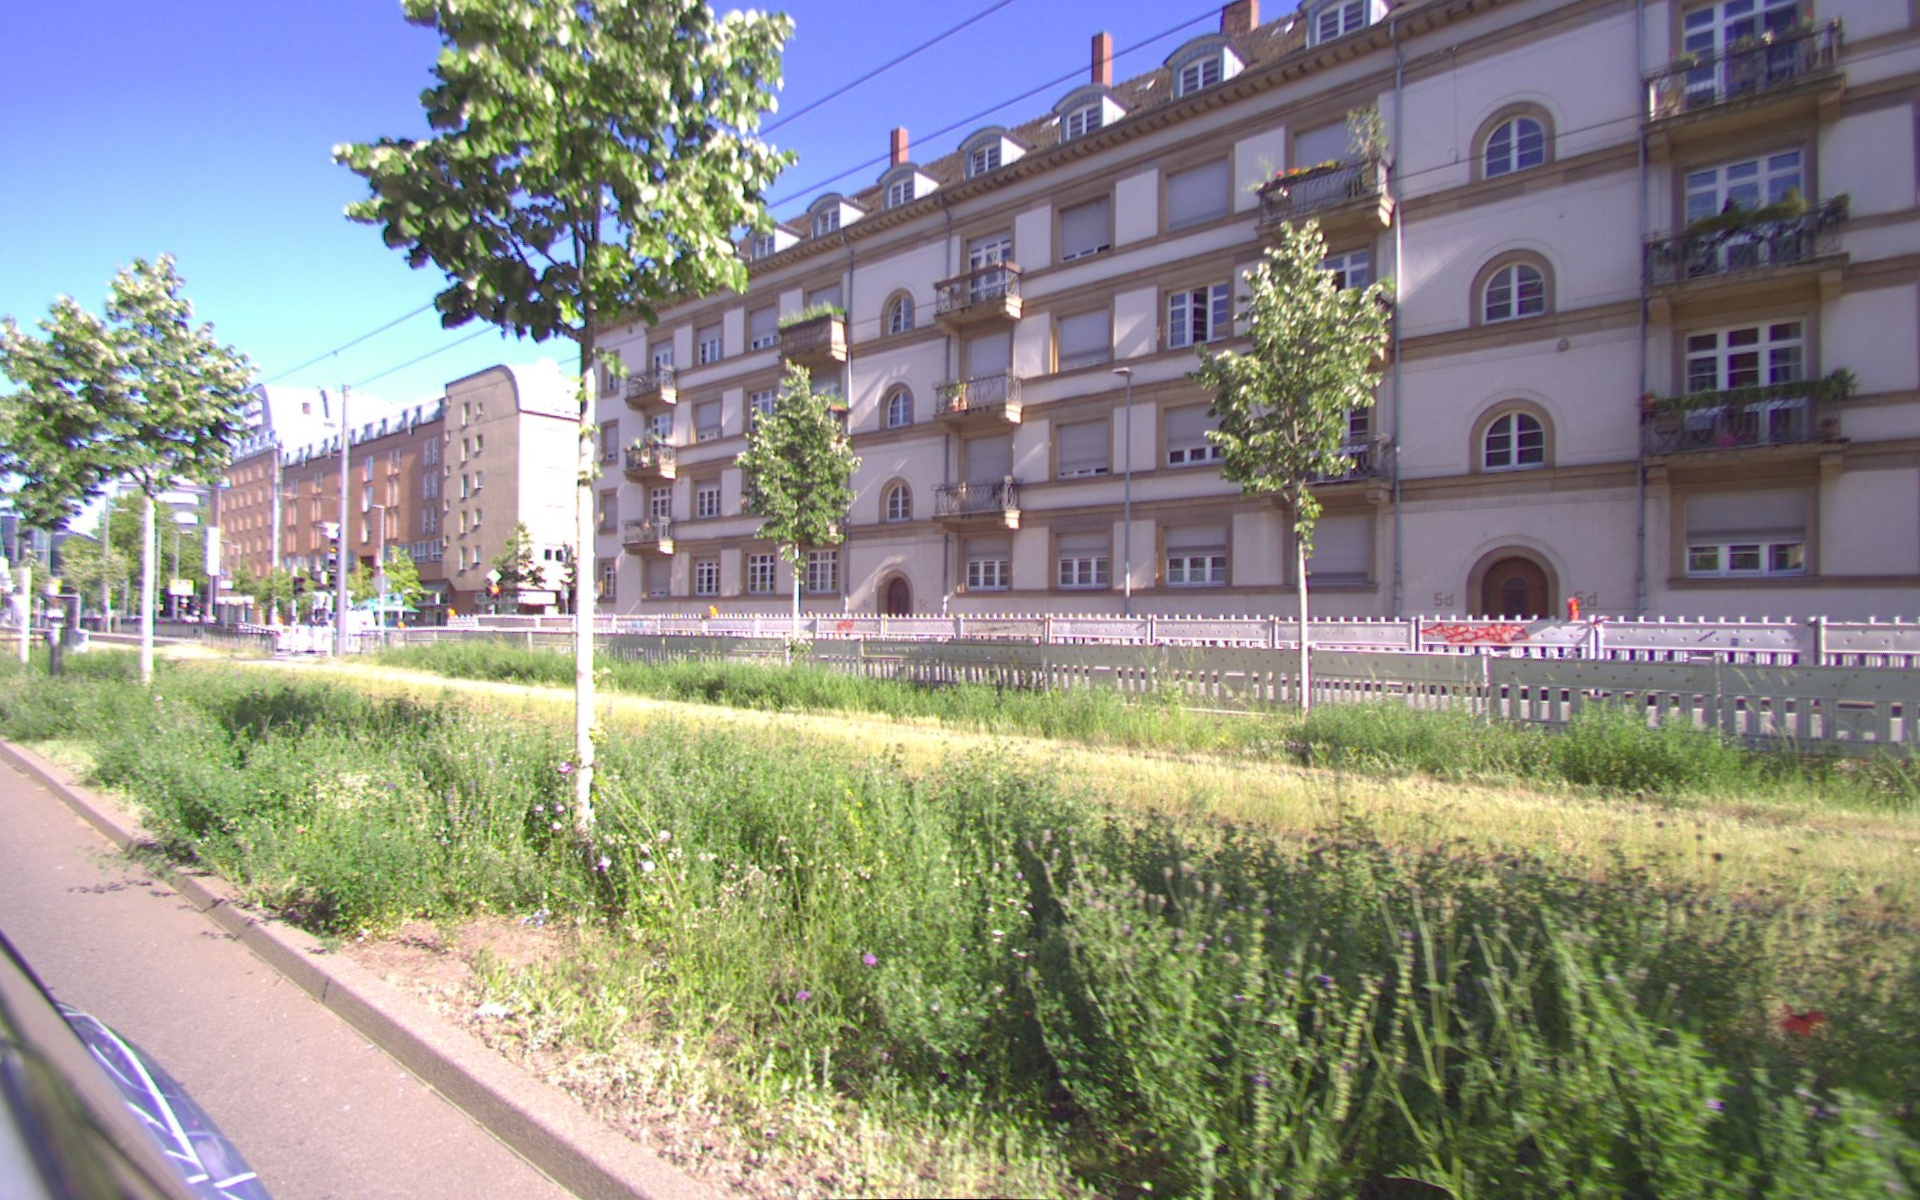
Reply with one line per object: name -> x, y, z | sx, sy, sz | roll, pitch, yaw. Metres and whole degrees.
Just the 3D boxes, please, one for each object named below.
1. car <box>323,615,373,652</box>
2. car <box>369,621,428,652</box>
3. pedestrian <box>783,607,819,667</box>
car -> -40.743, 2.157, 67.316 | 1.969, 2.314, 5.196 | 0, 0, -41
car -> -32.805, 2.110, 59.122 | 3.996, 1.652, 1.678 | 0, 0, 39
pedestrian -> -5.058, 1.161, 32.201 | 0.871, 1.877, 0.758 | 0, 0, 41
